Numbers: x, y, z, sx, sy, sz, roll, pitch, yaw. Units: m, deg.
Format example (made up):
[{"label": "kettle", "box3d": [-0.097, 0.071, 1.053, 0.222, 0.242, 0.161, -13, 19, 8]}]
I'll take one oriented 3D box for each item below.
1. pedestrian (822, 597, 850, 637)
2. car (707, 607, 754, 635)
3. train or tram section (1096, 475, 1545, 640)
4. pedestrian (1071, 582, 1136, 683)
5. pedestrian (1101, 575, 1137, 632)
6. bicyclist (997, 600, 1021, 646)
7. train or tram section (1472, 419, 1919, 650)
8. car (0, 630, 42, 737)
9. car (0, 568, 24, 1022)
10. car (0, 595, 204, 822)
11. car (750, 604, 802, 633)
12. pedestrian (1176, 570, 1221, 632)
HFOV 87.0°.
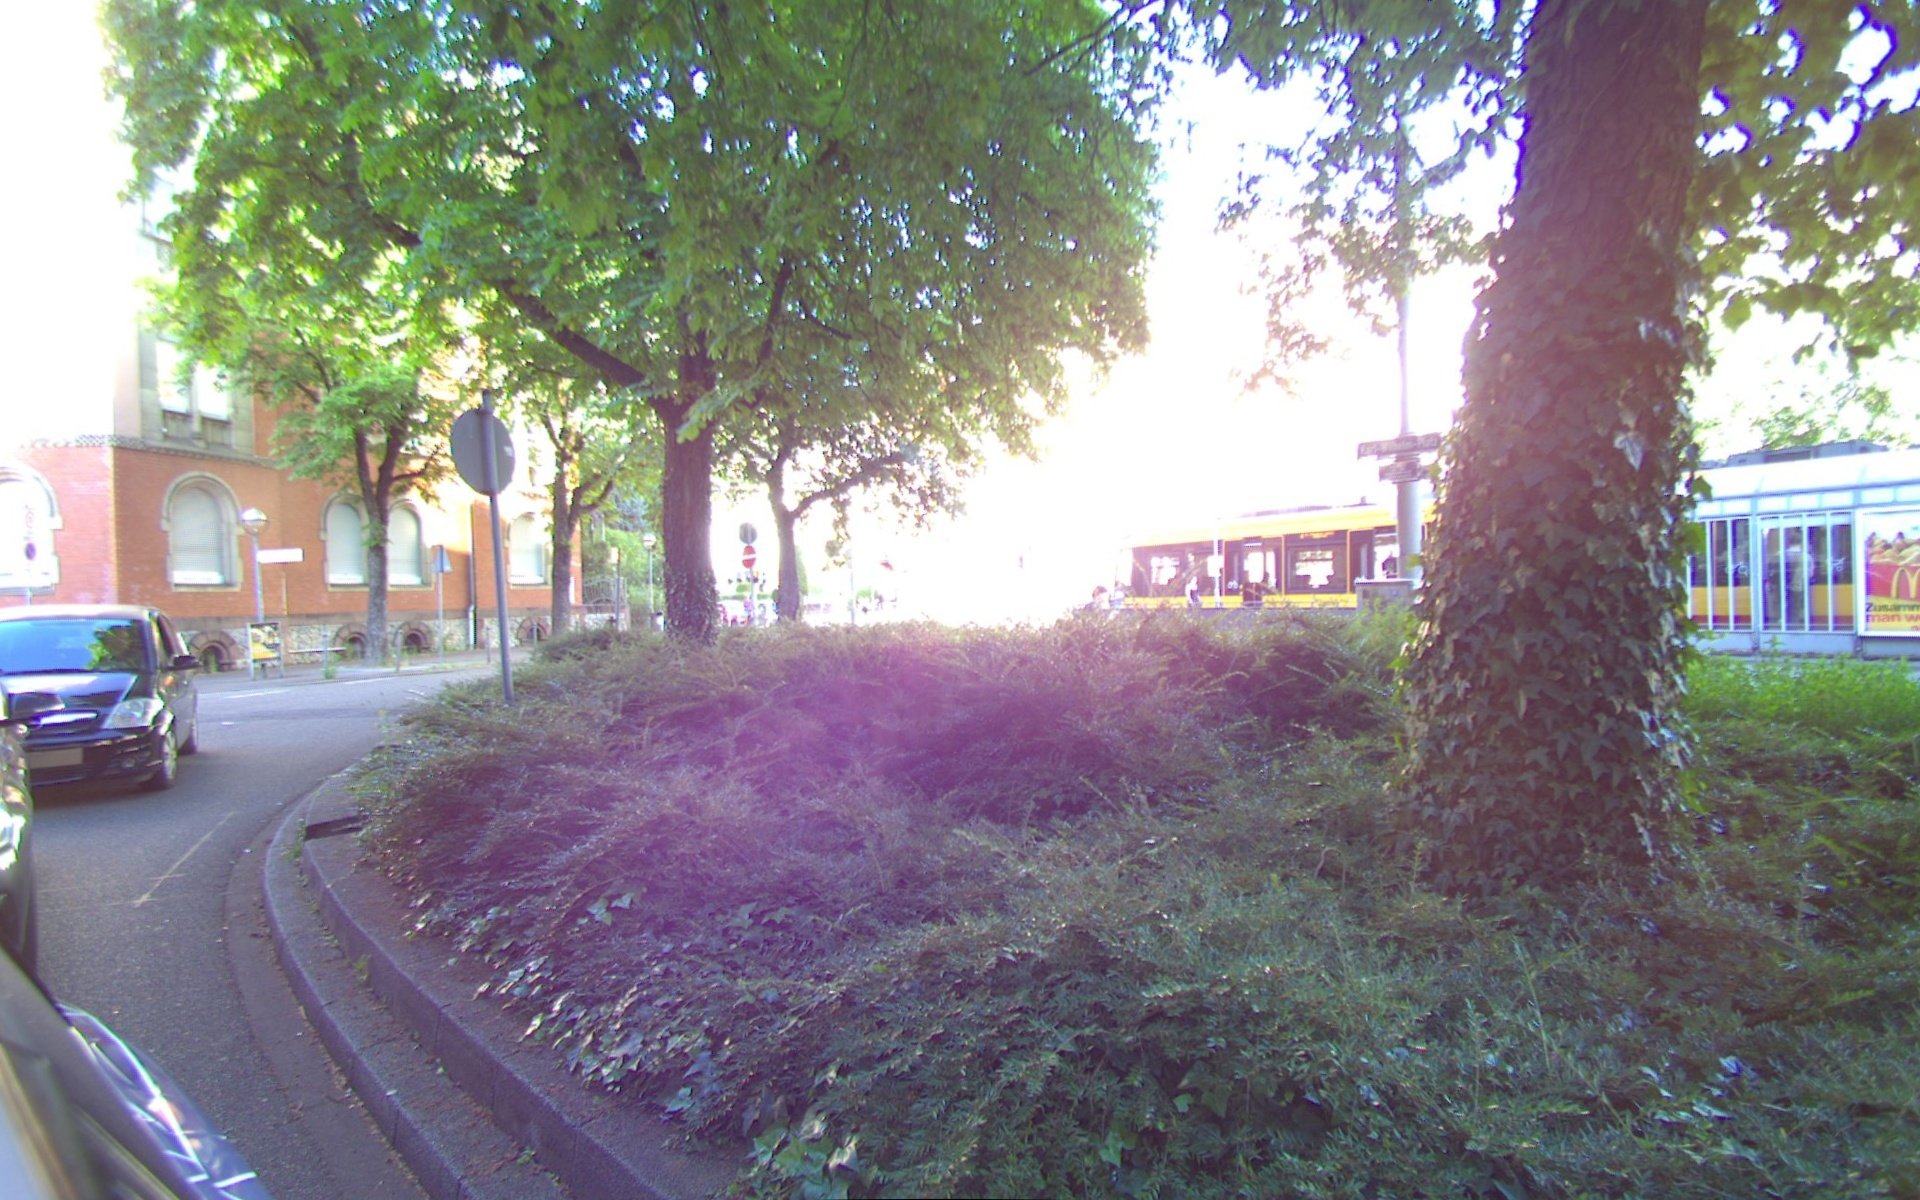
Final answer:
[{"label": "pedestrian", "box3d": [-5.261, 0.720, 42.898, 0.722, 1.647, 0.897, -3, 1, 27]}, {"label": "car", "box3d": [-13.757, 1.240, 60.566, 1.707, 1.427, 4.013, -2, 2, -29]}, {"label": "train or tram section", "box3d": [8.980, -0.884, 28.117, 2.727, 3.584, 12.718, -2, 0, -32]}, {"label": "pedestrian", "box3d": [2.145, 0.475, 15.142, 0.698, 1.454, 0.602, -2, 0, -25]}, {"label": "pedestrian", "box3d": [4.859, 0.097, 30.945, 0.714, 1.647, 0.907, -4, 1, -11]}, {"label": "bicyclist", "box3d": [1.747, 0.806, 35.893, 0.588, 1.585, 0.557, -2, 0, -30]}, {"label": "train or tram section", "box3d": [15.604, -1.048, 17.396, 2.739, 3.614, 12.456, -2, 0, -32]}, {"label": "car", "box3d": [-14.399, 1.166, 13.433, 3.362, 1.399, 1.469, -2, 0, 9]}, {"label": "car", "box3d": [-5.430, 0.734, 4.532, 1.768, 1.590, 4.264, -1, -1, -43]}, {"label": "car", "box3d": [-7.987, 0.835, 9.057, 1.652, 1.640, 3.698, -2, 0, -33]}, {"label": "car", "box3d": [-9.735, 0.967, 53.344, 1.707, 1.428, 4.013, -2, 0, -25]}, {"label": "pedestrian", "box3d": [6.640, 0.026, 28.206, 0.713, 1.647, 0.907, -4, 1, -34]}]
